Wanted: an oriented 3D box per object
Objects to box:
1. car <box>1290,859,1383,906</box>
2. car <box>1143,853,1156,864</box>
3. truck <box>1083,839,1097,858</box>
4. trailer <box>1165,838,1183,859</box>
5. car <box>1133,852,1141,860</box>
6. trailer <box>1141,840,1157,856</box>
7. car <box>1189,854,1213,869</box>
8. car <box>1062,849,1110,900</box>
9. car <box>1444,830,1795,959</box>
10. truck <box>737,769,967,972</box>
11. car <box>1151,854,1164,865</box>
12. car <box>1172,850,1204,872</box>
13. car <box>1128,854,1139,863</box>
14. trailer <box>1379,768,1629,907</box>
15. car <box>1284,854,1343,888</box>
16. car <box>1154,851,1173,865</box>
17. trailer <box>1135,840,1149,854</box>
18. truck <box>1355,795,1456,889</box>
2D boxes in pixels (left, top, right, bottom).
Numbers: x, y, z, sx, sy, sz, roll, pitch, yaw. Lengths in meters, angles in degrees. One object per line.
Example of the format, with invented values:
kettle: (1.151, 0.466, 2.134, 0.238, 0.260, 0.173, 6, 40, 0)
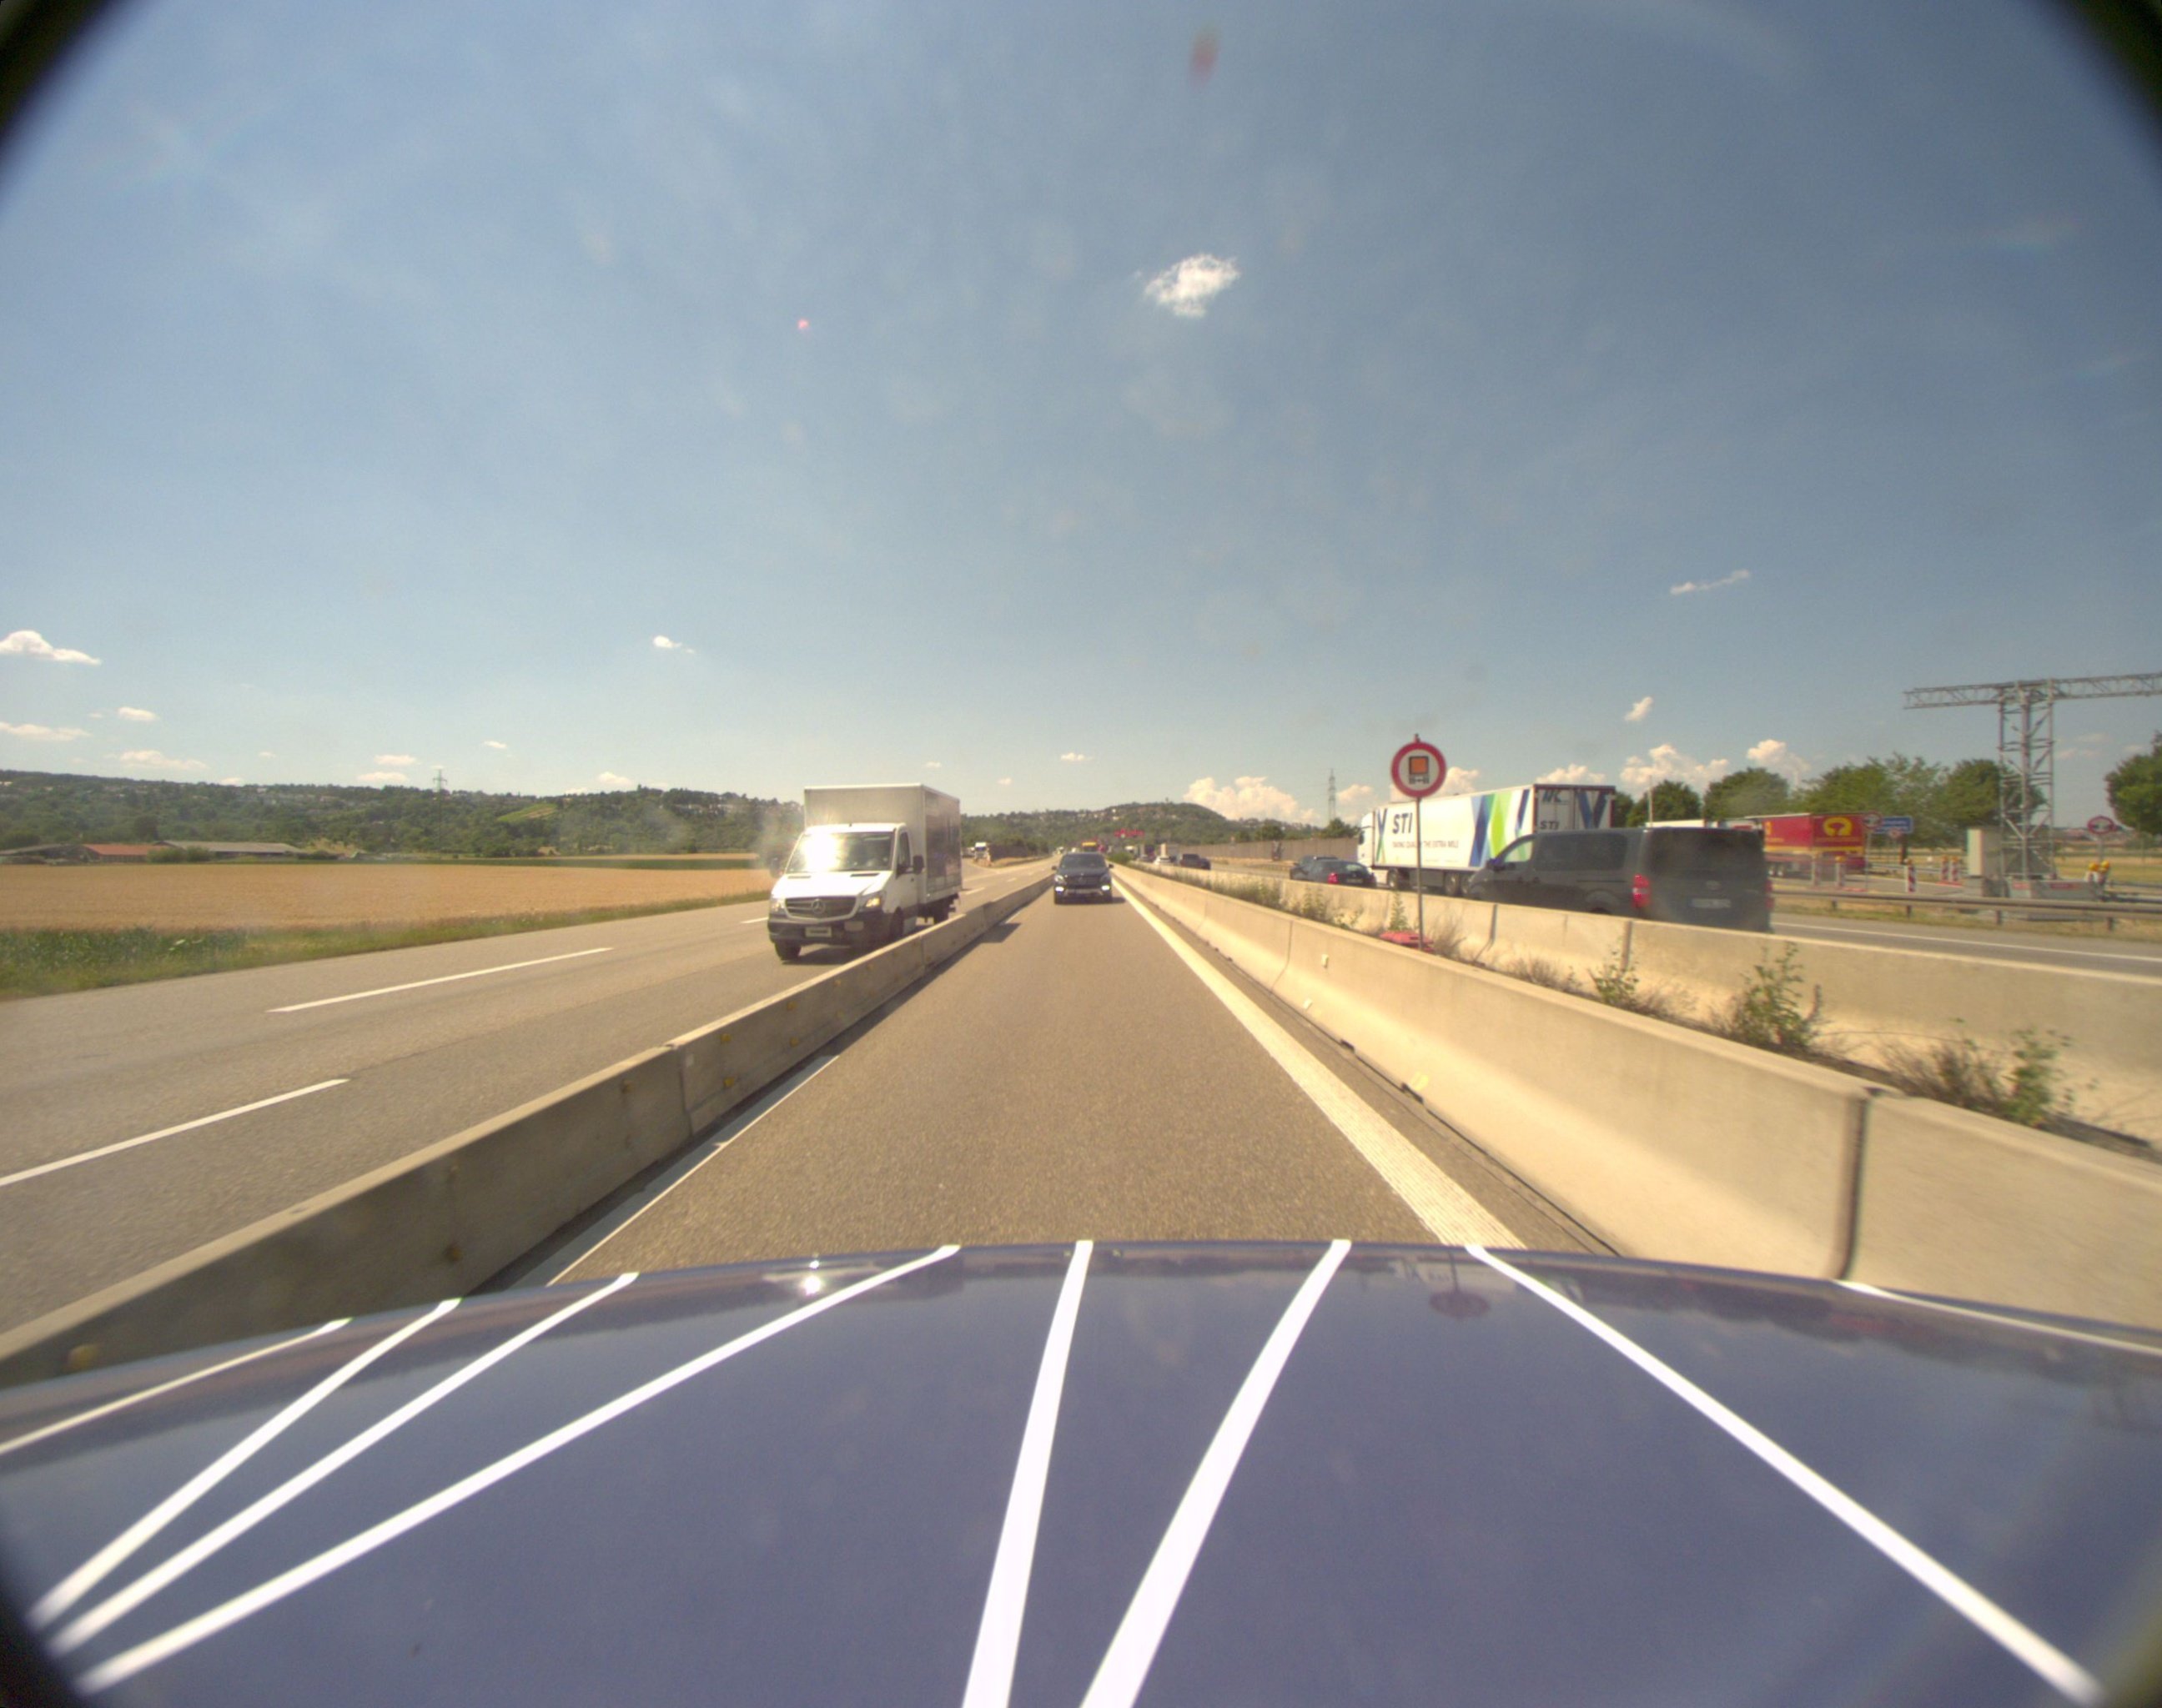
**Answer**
car: (8.265, 0.882, 24.953, 1.659, 1.344, 4.267, -1, 0, 1)
car: (10.492, 0.675, 116.389, 1.659, 1.510, 4.000, -1, 1, 1)
truck: (1.639, -0.939, 132.707, 2.272, 3.139, 8.186, -2, 1, 1)
trailer: (17.698, -1.037, 144.970, 2.654, 3.851, 6.616, 0, 1, 1)
car: (14.460, 0.628, 195.742, 1.998, 2.002, 4.346, 0, 0, 3)
trailer: (18.302, -1.638, 205.090, 2.991, 4.043, 15.162, -1, 1, 1)
car: (12.500, 0.728, 79.383, 1.816, 1.477, 4.963, -1, 0, 1)
car: (0.236, 0.732, 28.603, 1.630, 1.711, 3.865, -2, 0, 1)
car: (7.921, 0.505, 12.054, 1.848, 1.560, 5.344, -1, 0, 1)
truck: (-4.024, 0.288, 15.051, 2.326, 3.049, 6.752, -2, 0, 1)
car: (13.467, 0.940, 133.747, 1.998, 1.749, 4.000, -1, 0, 1)
car: (8.375, 0.519, 60.045, 1.895, 1.608, 4.820, -1, 0, 1)
car: (10.427, 0.808, 150.918, 1.998, 1.749, 4.644, -1, 0, 1)
trailer: (15.976, -0.541, 30.612, 2.900, 4.349, 12.993, 1, 0, 1)
car: (11.777, 0.814, 38.763, 1.659, 1.642, 4.665, -1, 0, 1)
car: (9.148, 0.426, 84.473, 1.679, 1.510, 4.507, -1, 1, 1)
trailer: (18.897, -2.228, 237.354, 3.263, 4.033, 14.388, -2, 1, 1)
truck: (16.062, -0.587, 38.008, 2.878, 4.349, 4.903, 1, 0, 1)
